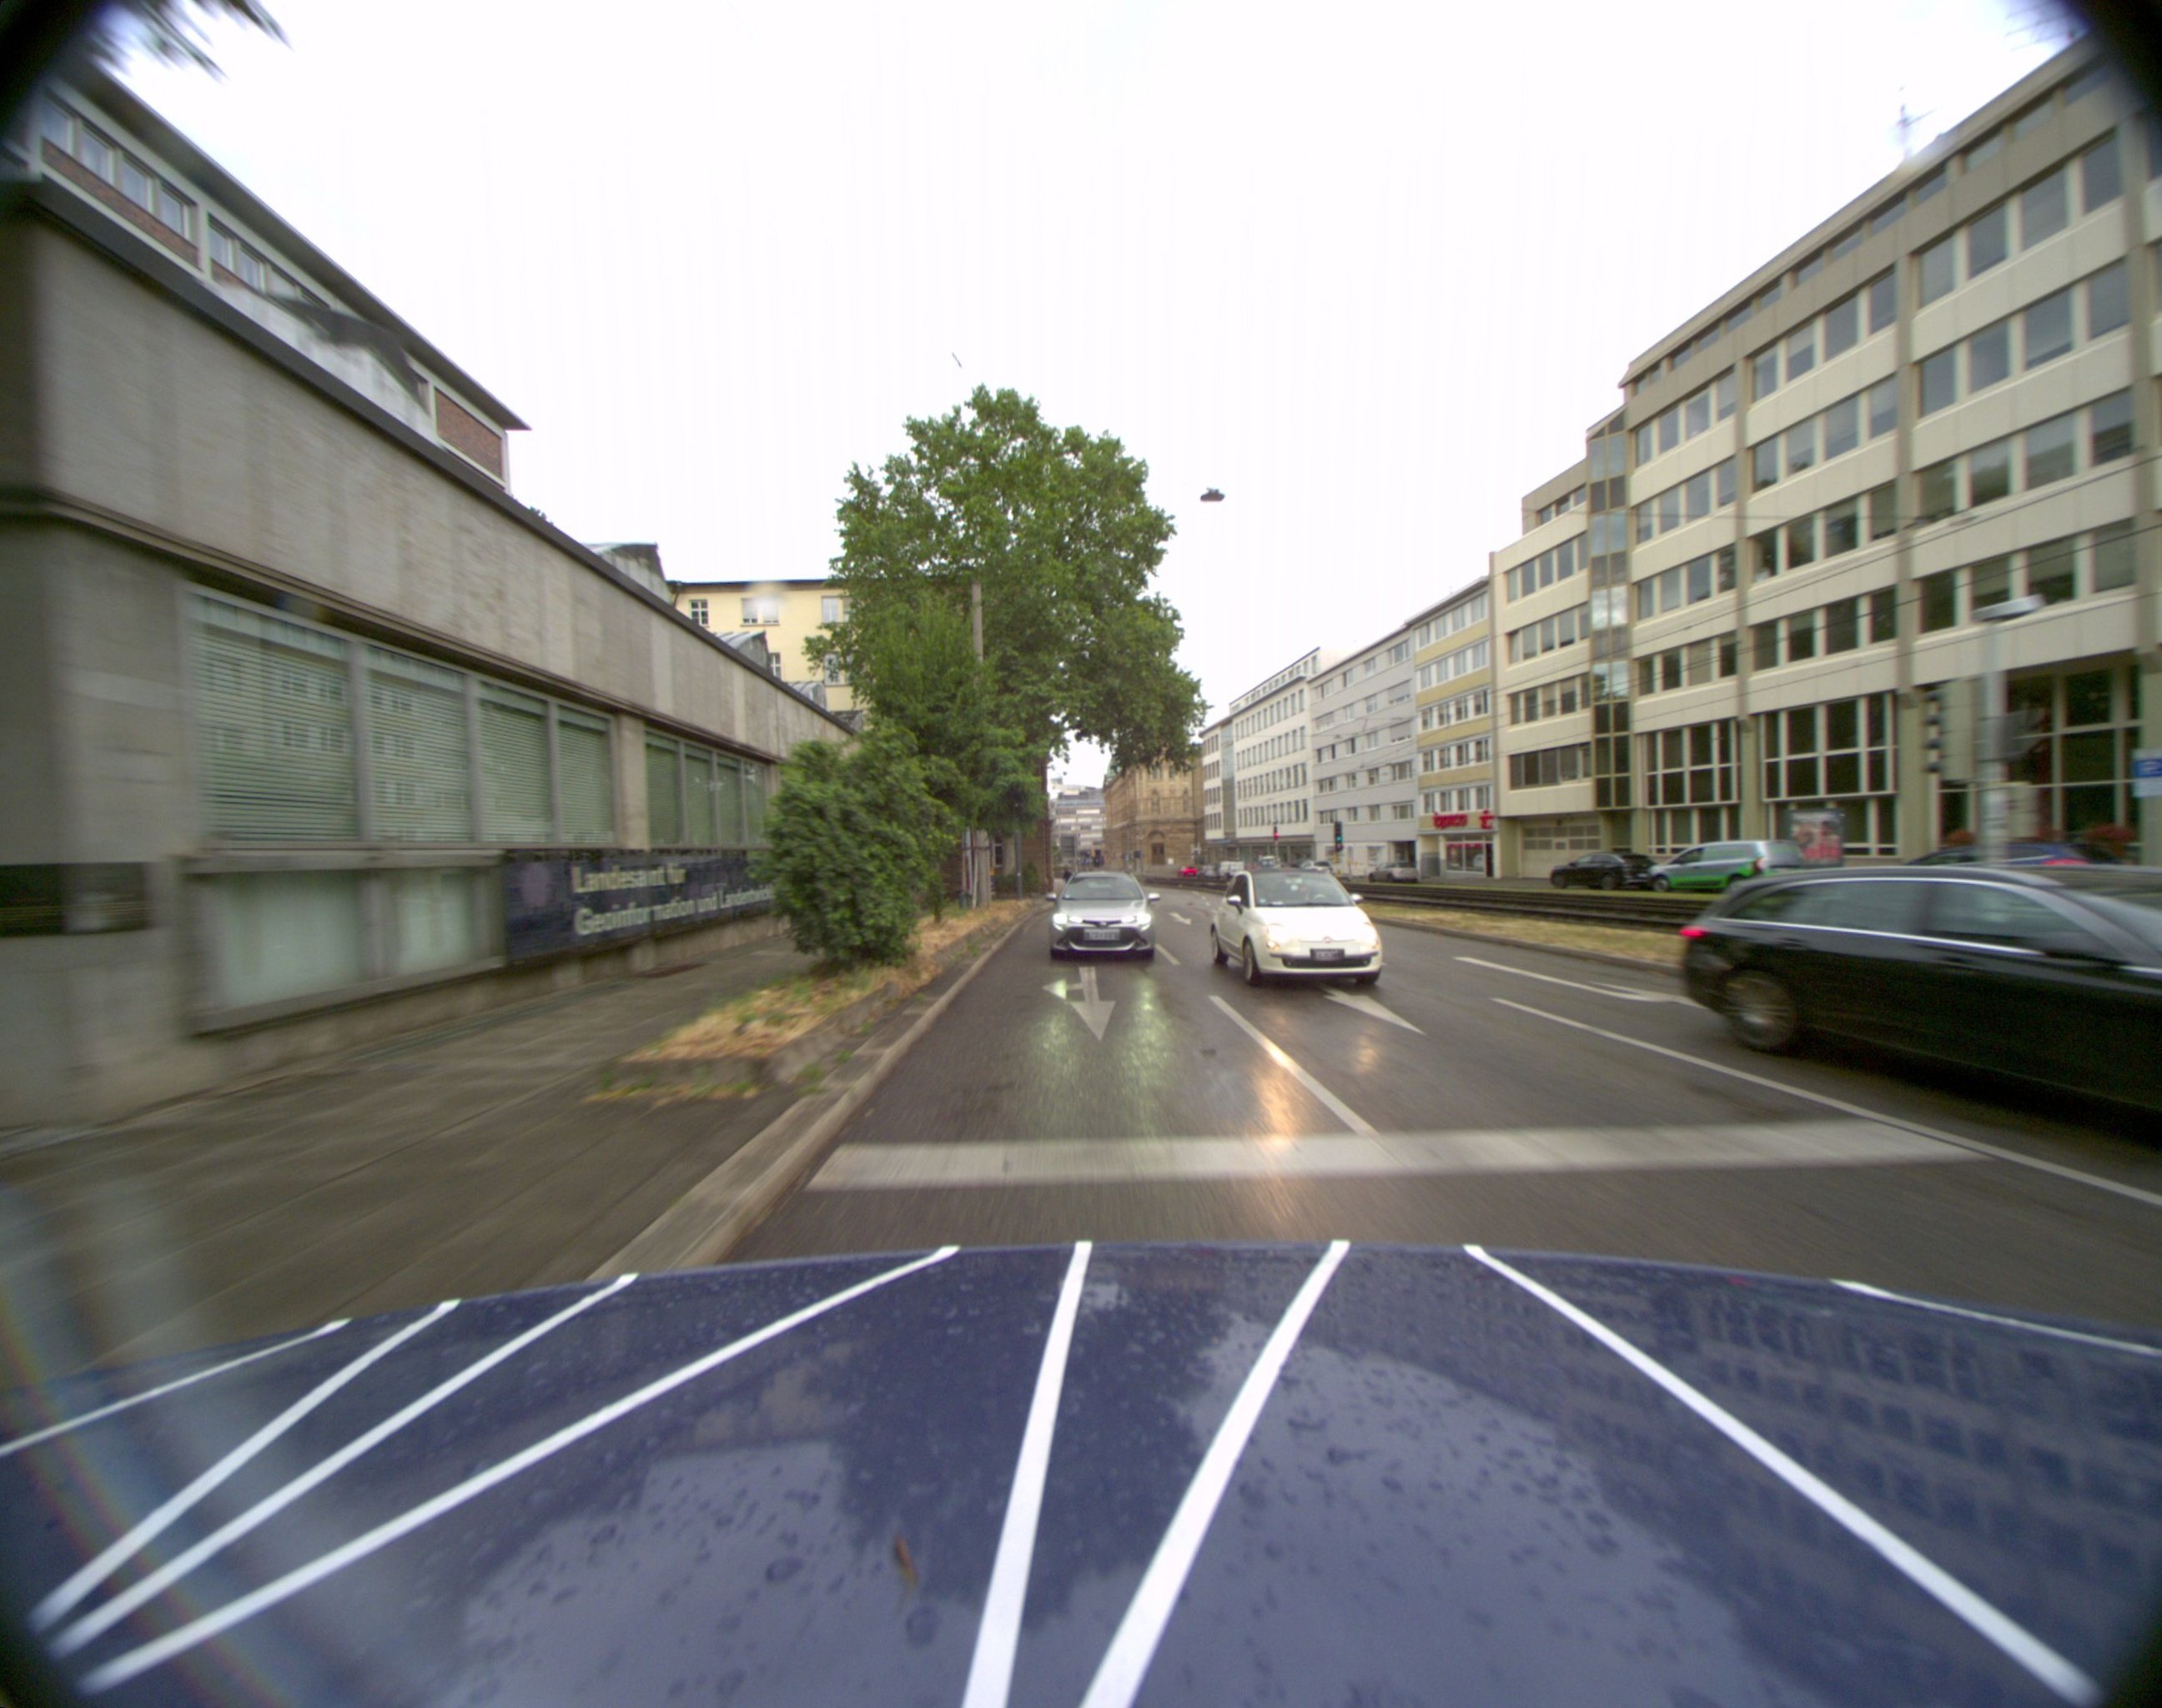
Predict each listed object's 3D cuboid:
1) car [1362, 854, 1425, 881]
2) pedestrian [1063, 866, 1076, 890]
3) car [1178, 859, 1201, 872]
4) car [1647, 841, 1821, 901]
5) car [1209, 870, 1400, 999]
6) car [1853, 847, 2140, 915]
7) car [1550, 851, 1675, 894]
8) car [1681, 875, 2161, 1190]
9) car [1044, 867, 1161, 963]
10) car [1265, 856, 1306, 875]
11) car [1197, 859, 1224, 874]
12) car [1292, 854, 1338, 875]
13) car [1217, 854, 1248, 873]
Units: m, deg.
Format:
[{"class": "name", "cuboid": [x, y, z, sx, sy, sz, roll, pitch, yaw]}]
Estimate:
[{"class": "car", "cuboid": [19.492, 0.822, 47.577, 1.801, 1.505, 4.075, -3, 0, -7]}, {"class": "pedestrian", "cuboid": [-0.808, 1.720, 54.043, 0.719, 1.629, 0.760, -3, 1, 9]}, {"class": "car", "cuboid": [14.346, 1.474, 100.762, 1.890, 1.615, 4.475, -3, 0, -7]}, {"class": "car", "cuboid": [21.603, 0.518, 25.393, 1.801, 1.736, 4.214, -3, 0, -8]}, {"class": "car", "cuboid": [2.892, 0.973, 10.568, 1.654, 1.426, 3.440, 0, 0, 0]}, {"class": "car", "cuboid": [22.148, 0.597, 18.699, 1.801, 1.468, 4.215, 0, 0, -6]}, {"class": "car", "cuboid": [21.129, 0.683, 30.447, 1.801, 1.505, 4.075, -3, 0, -7]}, {"class": "car", "cuboid": [6.104, 0.899, 4.372, 1.800, 1.434, 4.475, 0, 0, 1]}, {"class": "car", "cuboid": [0.347, 0.980, 13.893, 1.811, 1.426, 4.297, 0, 0, 0]}, {"class": "car", "cuboid": [15.524, 0.883, 57.819, 1.632, 1.349, 3.869, -2, 0, -7]}, {"class": "car", "cuboid": [13.184, 1.255, 77.658, 1.632, 1.349, 3.869, -2, 0, -7]}, {"class": "car", "cuboid": [18.125, 0.804, 59.022, 1.890, 1.505, 4.075, -3, 0, -7]}, {"class": "car", "cuboid": [16.192, 0.971, 81.611, 1.890, 1.924, 4.475, -3, 0, -7]}]
